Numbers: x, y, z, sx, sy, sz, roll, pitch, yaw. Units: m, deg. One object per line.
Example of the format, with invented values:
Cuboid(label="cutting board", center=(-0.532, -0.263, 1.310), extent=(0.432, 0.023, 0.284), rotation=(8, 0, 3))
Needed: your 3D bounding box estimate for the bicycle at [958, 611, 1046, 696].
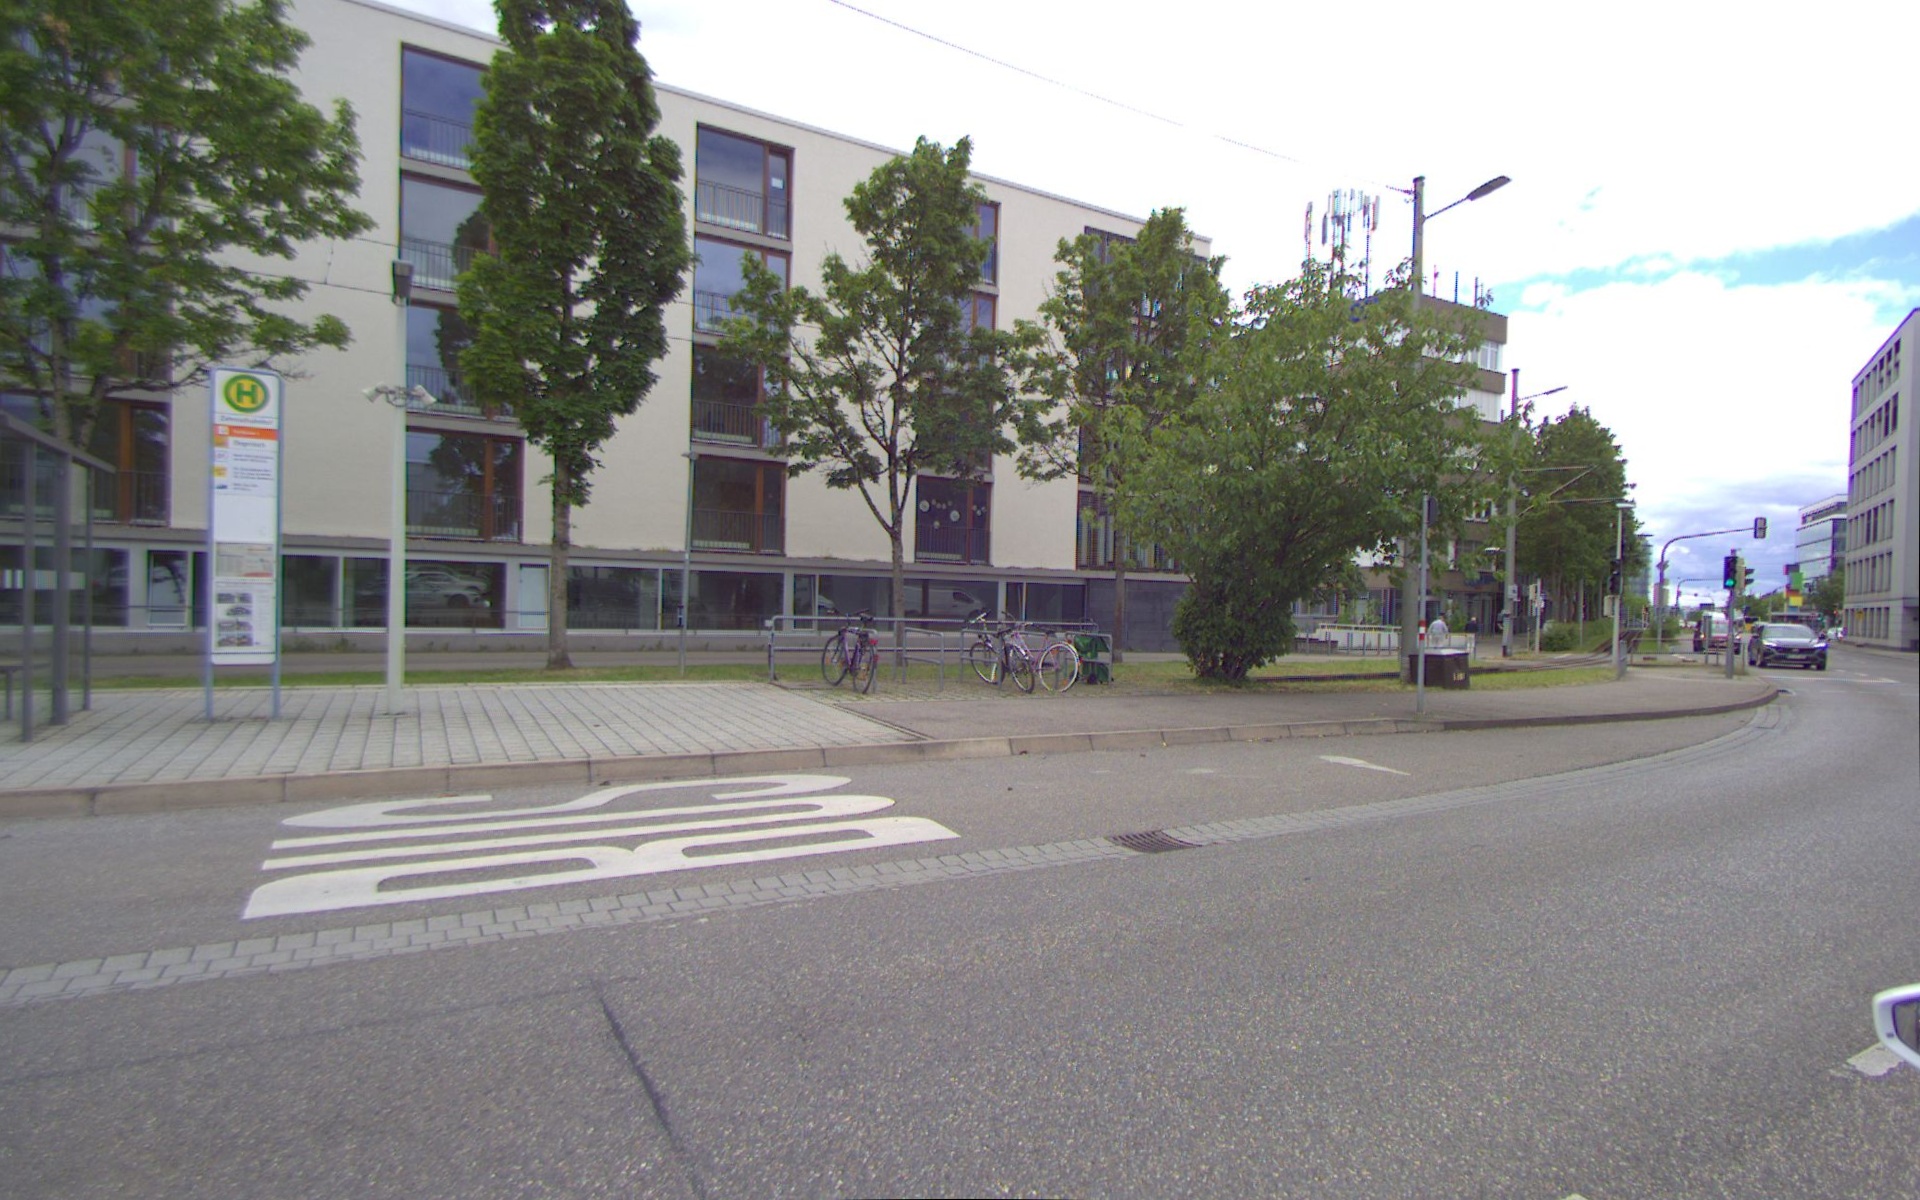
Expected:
Cuboid(label="bicycle", center=(0.576, 0.736, 14.394), extent=(0.403, 1.060, 1.741), rotation=(1, 2, -28))

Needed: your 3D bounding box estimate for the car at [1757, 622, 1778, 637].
Cuboid(label="car", center=(91.974, 3.340, 114.497), extent=(1.737, 1.630, 4.171), rotation=(2, 0, 38))

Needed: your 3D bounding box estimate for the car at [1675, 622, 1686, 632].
Cuboid(label="car", center=(140.356, 5.309, 195.633), extent=(1.645, 1.907, 3.986), rotation=(2, 0, 36))

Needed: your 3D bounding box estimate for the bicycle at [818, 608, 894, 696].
Cuboid(label="bicycle", center=(-1.436, 0.676, 13.568), extent=(0.391, 1.039, 1.680), rotation=(1, 2, -28))

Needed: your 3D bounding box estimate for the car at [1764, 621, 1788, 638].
Cuboid(label="car", center=(81.250, 2.952, 100.066), extent=(1.737, 1.630, 4.171), rotation=(2, 0, 38))

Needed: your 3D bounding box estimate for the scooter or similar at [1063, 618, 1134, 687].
Cuboid(label="scooter or similar", center=(2.192, 0.816, 15.867), extent=(0.767, 1.023, 0.781), rotation=(1, 0, -38))

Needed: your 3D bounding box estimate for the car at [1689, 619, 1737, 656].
Cuboid(label="car", center=(38.449, 1.888, 51.360), extent=(1.658, 1.832, 4.340), rotation=(-1, -2, 33))

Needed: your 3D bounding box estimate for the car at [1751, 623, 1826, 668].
Cuboid(label="car", center=(29.065, 1.553, 35.331), extent=(1.745, 1.498, 3.987), rotation=(-1, -2, 36))

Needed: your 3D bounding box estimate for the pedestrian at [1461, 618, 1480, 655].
Cuboid(label="pedestrian", center=(23.871, 1.699, 46.970), extent=(0.679, 1.728, 0.680), rotation=(0, -1, 37))

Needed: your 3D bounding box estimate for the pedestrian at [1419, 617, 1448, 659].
Cuboid(label="pedestrian", center=(17.618, 1.410, 37.387), extent=(0.836, 1.547, 0.993), rotation=(0, -1, 33))

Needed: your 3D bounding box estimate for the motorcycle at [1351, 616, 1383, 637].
Cuboid(label="motorcycle", center=(25.768, 1.673, 63.572), extent=(0.562, 1.215, 1.868), rotation=(1, 0, -33))

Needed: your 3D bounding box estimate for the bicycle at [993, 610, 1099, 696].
Cuboid(label="bicycle", center=(1.238, 0.750, 14.747), extent=(0.405, 1.103, 1.689), rotation=(1, 2, -42))
